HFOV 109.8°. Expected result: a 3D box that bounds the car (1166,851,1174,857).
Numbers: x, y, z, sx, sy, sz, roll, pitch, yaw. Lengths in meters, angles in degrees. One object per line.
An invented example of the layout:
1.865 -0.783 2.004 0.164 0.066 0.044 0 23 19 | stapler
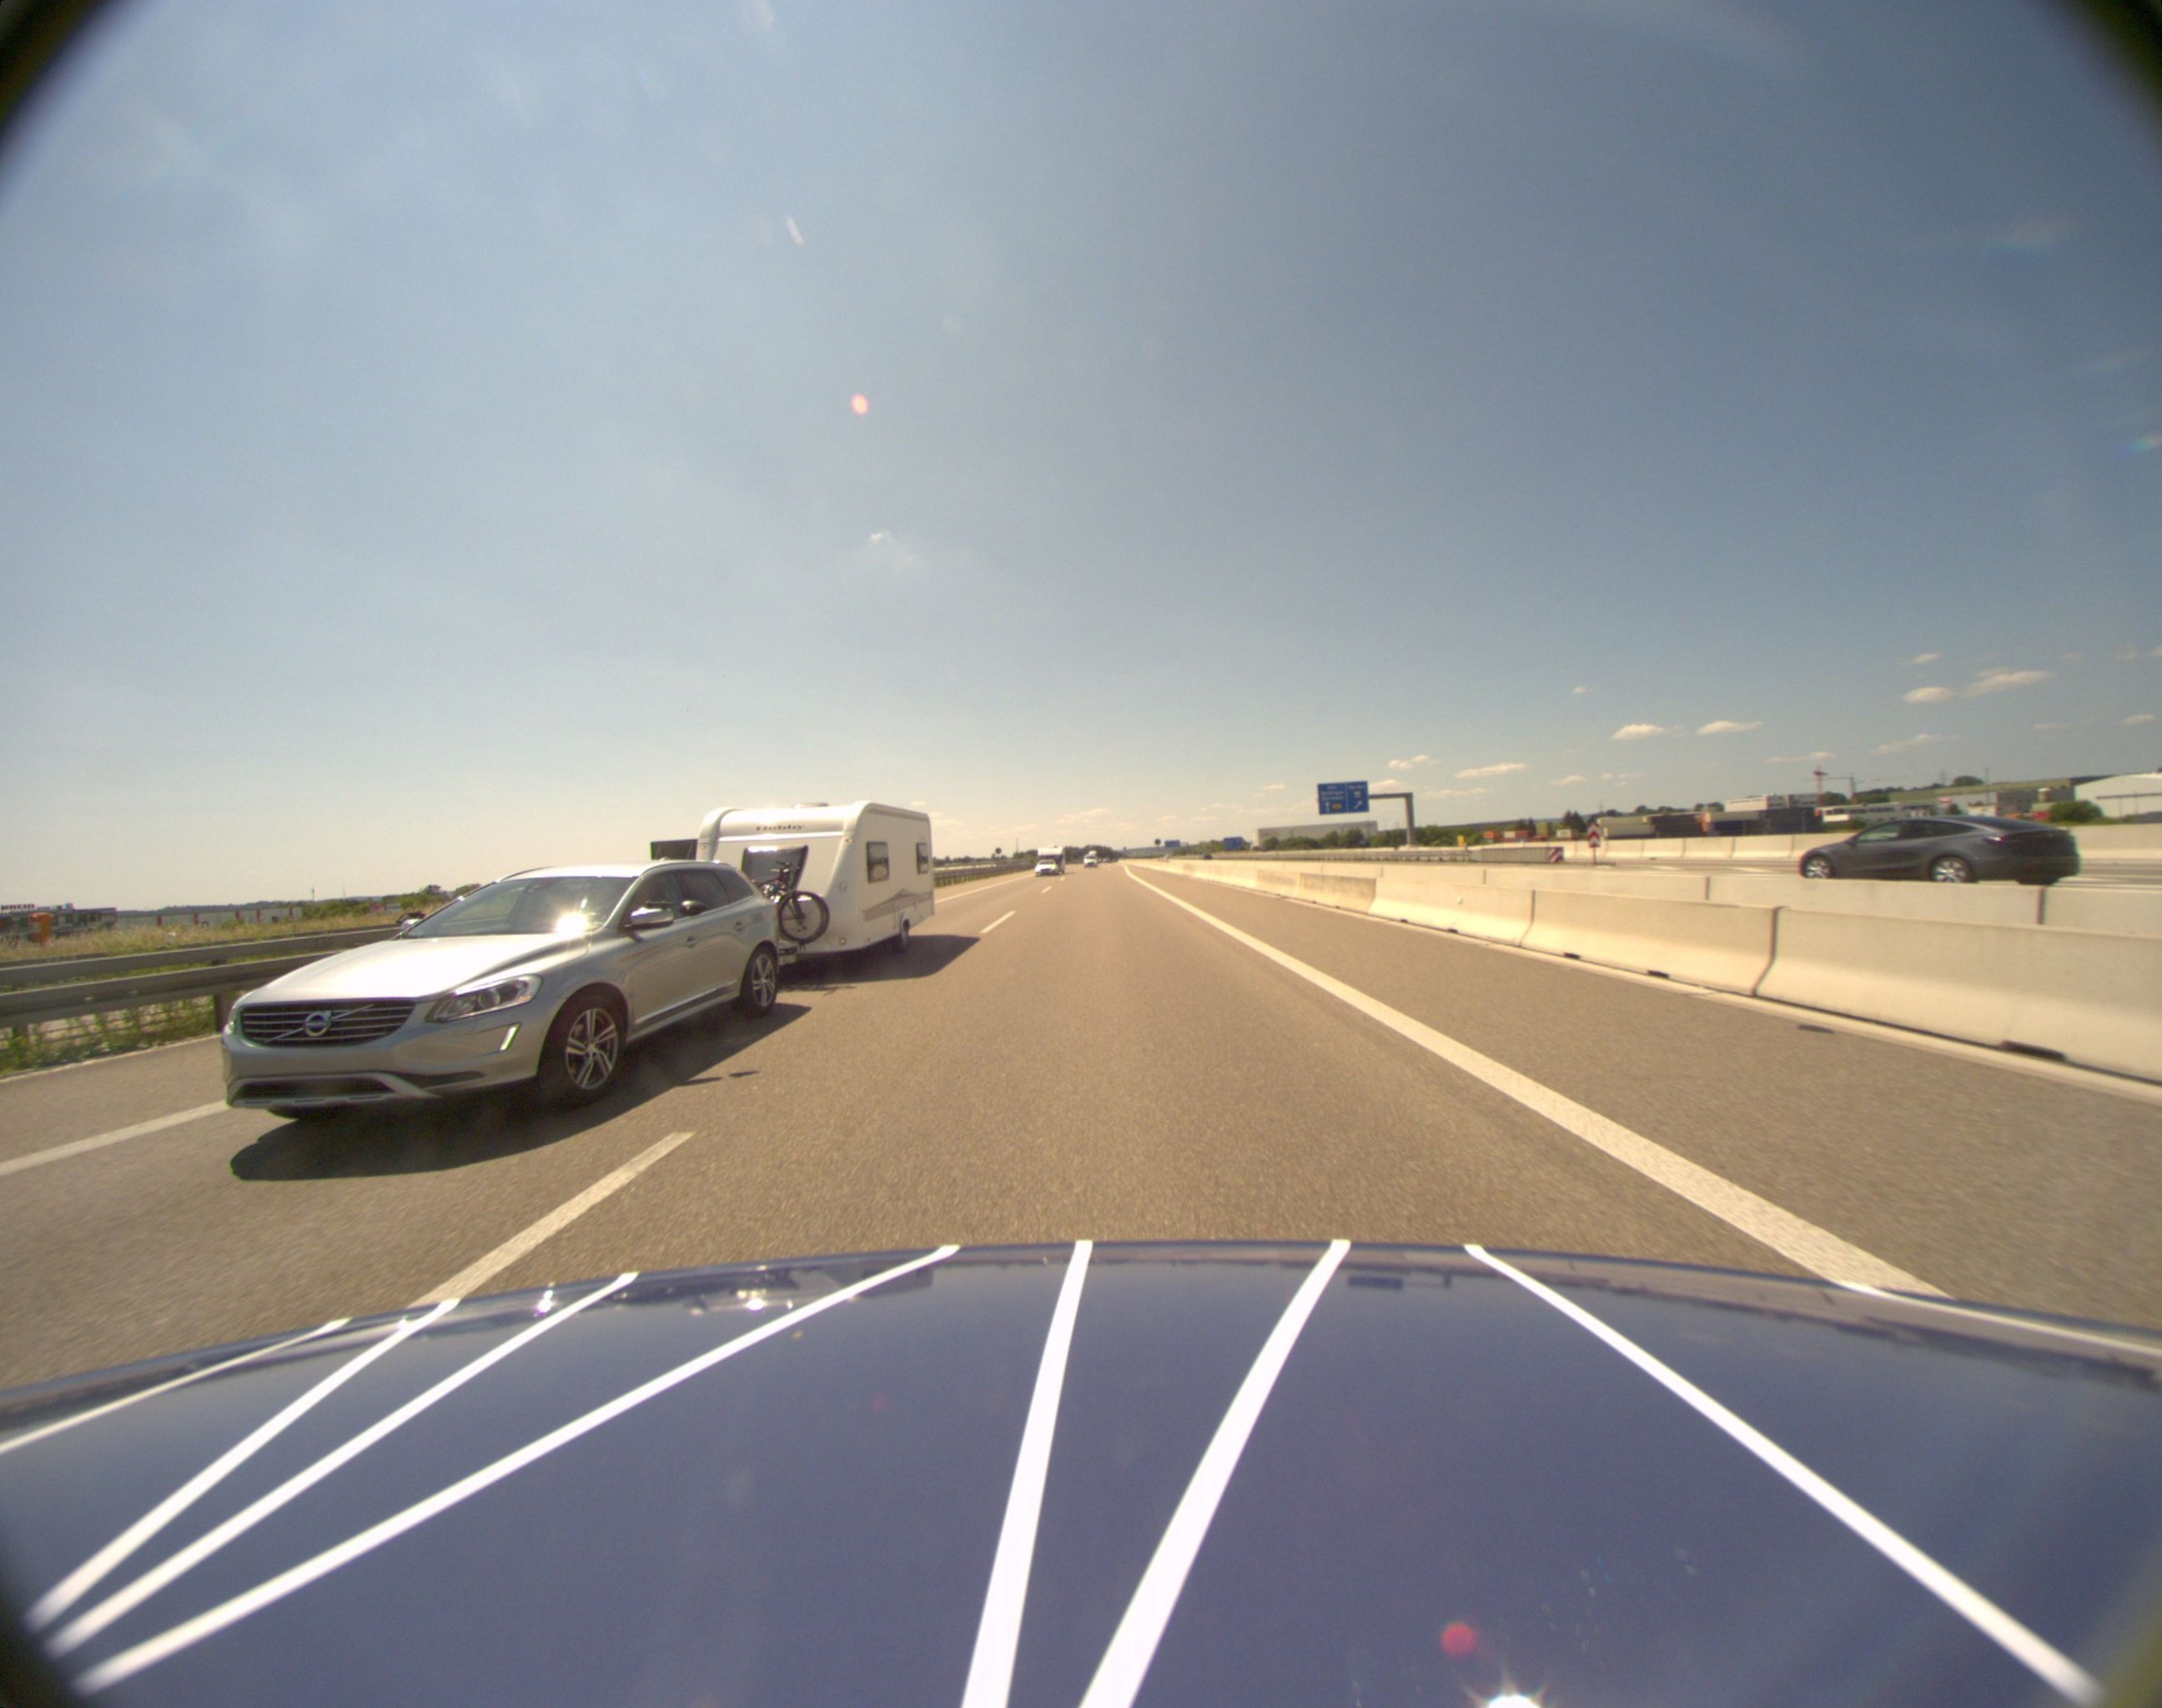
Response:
24.695 -0.013 210.152 1.814 1.427 4.442 -3 0 1 | car

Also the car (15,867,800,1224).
-4.222 0.989 6.187 1.885 1.613 4.904 -2 0 1 | car

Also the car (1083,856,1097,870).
1.356 1.282 111.159 1.998 2.002 4.000 -2 0 1 | car

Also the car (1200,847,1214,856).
22.099 -0.456 133.669 1.737 1.527 4.549 -3 0 1 | car

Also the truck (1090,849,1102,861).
3.730 0.121 187.956 2.167 2.797 6.492 -2 0 5 | truck

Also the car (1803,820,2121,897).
19.403 0.089 17.146 1.915 1.412 4.550 -3 0 1 | car

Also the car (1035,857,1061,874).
-2.833 0.993 66.516 1.872 1.352 3.673 -1 0 3 | car

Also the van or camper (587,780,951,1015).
-4.228 0.523 12.557 2.518 2.577 7.818 -2 0 1 | van or camper

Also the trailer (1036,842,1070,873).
-2.553 0.356 71.958 2.500 2.686 7.156 -2 0 3 | trailer
